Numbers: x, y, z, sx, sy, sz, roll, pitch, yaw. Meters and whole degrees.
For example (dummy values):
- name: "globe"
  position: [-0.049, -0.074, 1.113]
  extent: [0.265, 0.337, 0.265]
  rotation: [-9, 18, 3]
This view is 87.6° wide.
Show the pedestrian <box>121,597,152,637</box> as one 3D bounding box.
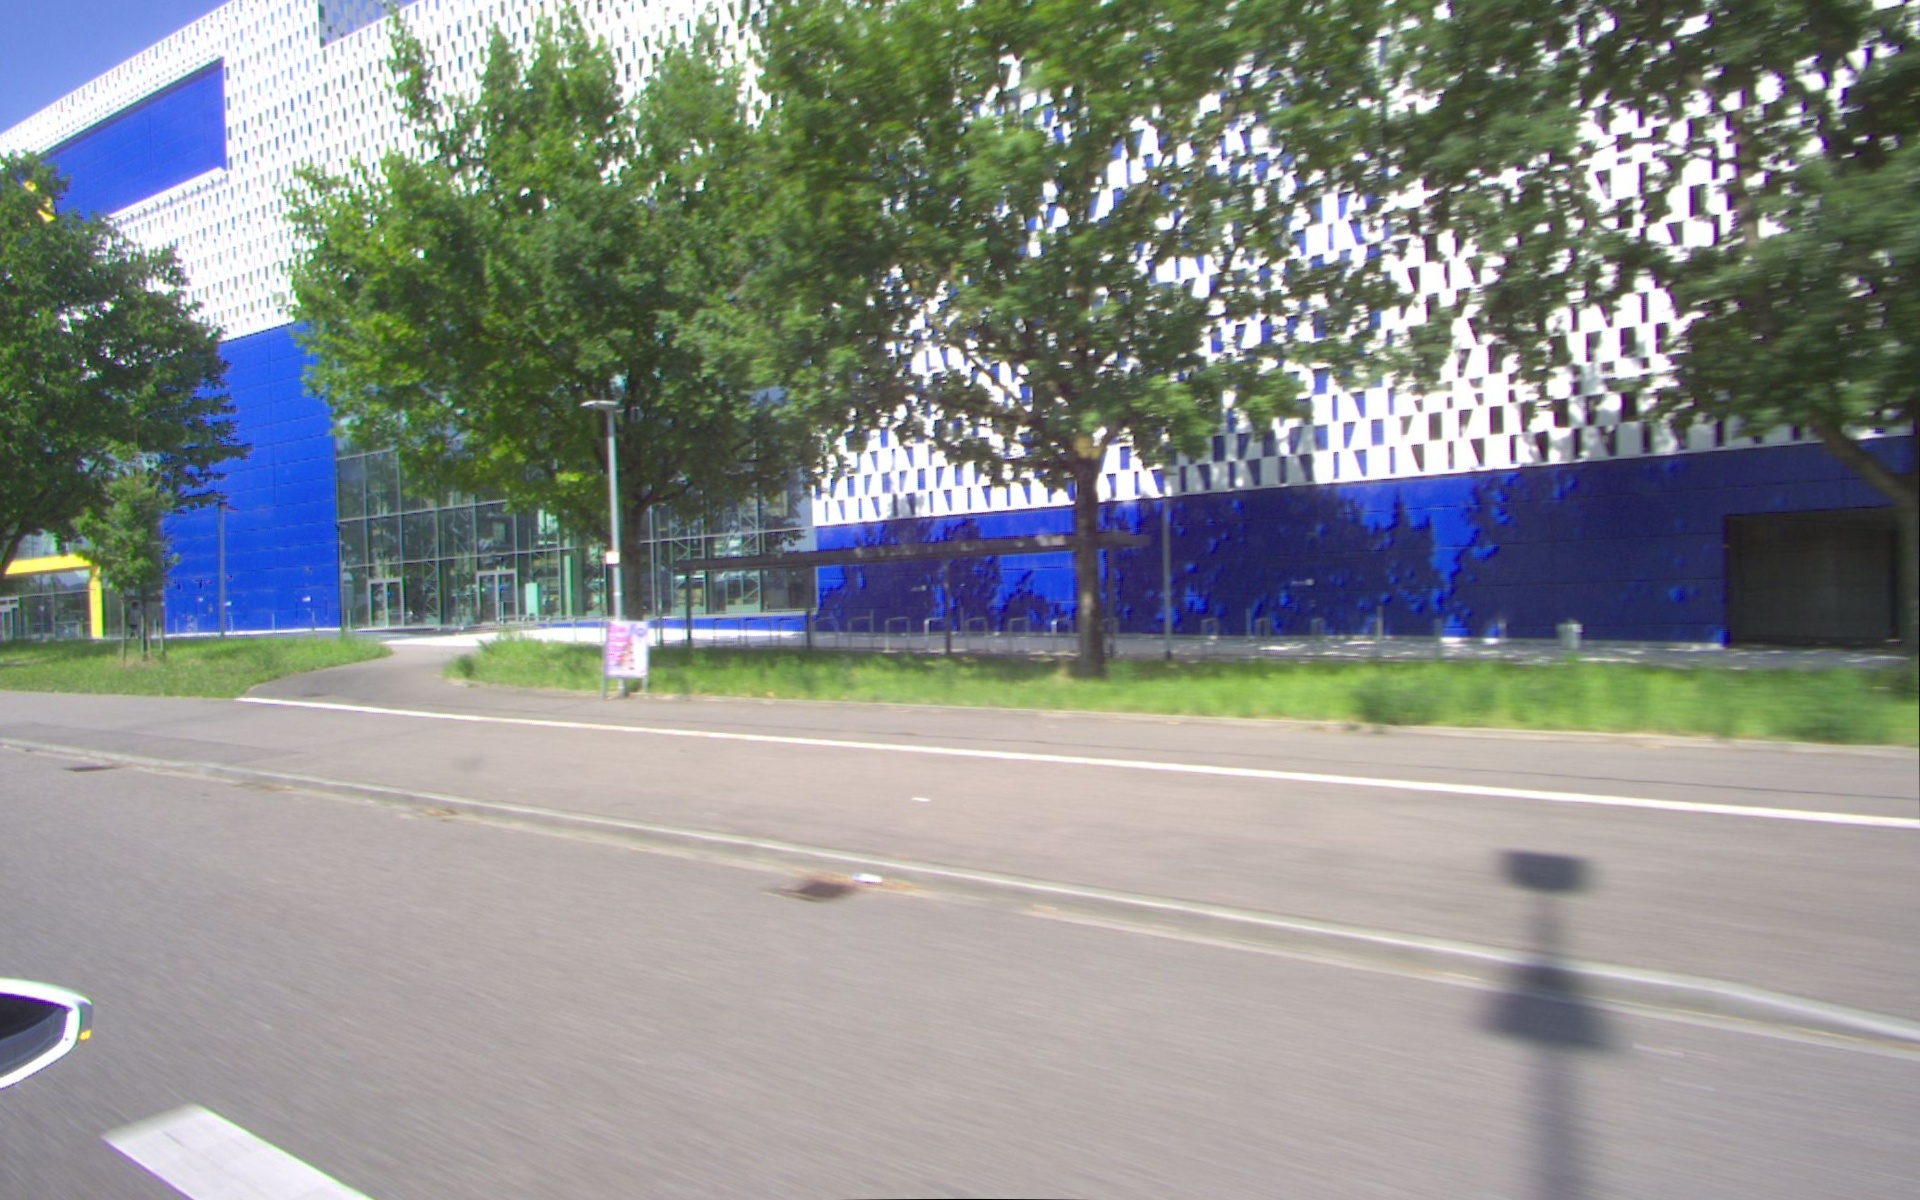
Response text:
- name: "pedestrian"
  position: [-34.325, 0.708, 41.728]
  extent: [0.759, 1.634, 0.687]
  rotation: [0, 1, 26]
